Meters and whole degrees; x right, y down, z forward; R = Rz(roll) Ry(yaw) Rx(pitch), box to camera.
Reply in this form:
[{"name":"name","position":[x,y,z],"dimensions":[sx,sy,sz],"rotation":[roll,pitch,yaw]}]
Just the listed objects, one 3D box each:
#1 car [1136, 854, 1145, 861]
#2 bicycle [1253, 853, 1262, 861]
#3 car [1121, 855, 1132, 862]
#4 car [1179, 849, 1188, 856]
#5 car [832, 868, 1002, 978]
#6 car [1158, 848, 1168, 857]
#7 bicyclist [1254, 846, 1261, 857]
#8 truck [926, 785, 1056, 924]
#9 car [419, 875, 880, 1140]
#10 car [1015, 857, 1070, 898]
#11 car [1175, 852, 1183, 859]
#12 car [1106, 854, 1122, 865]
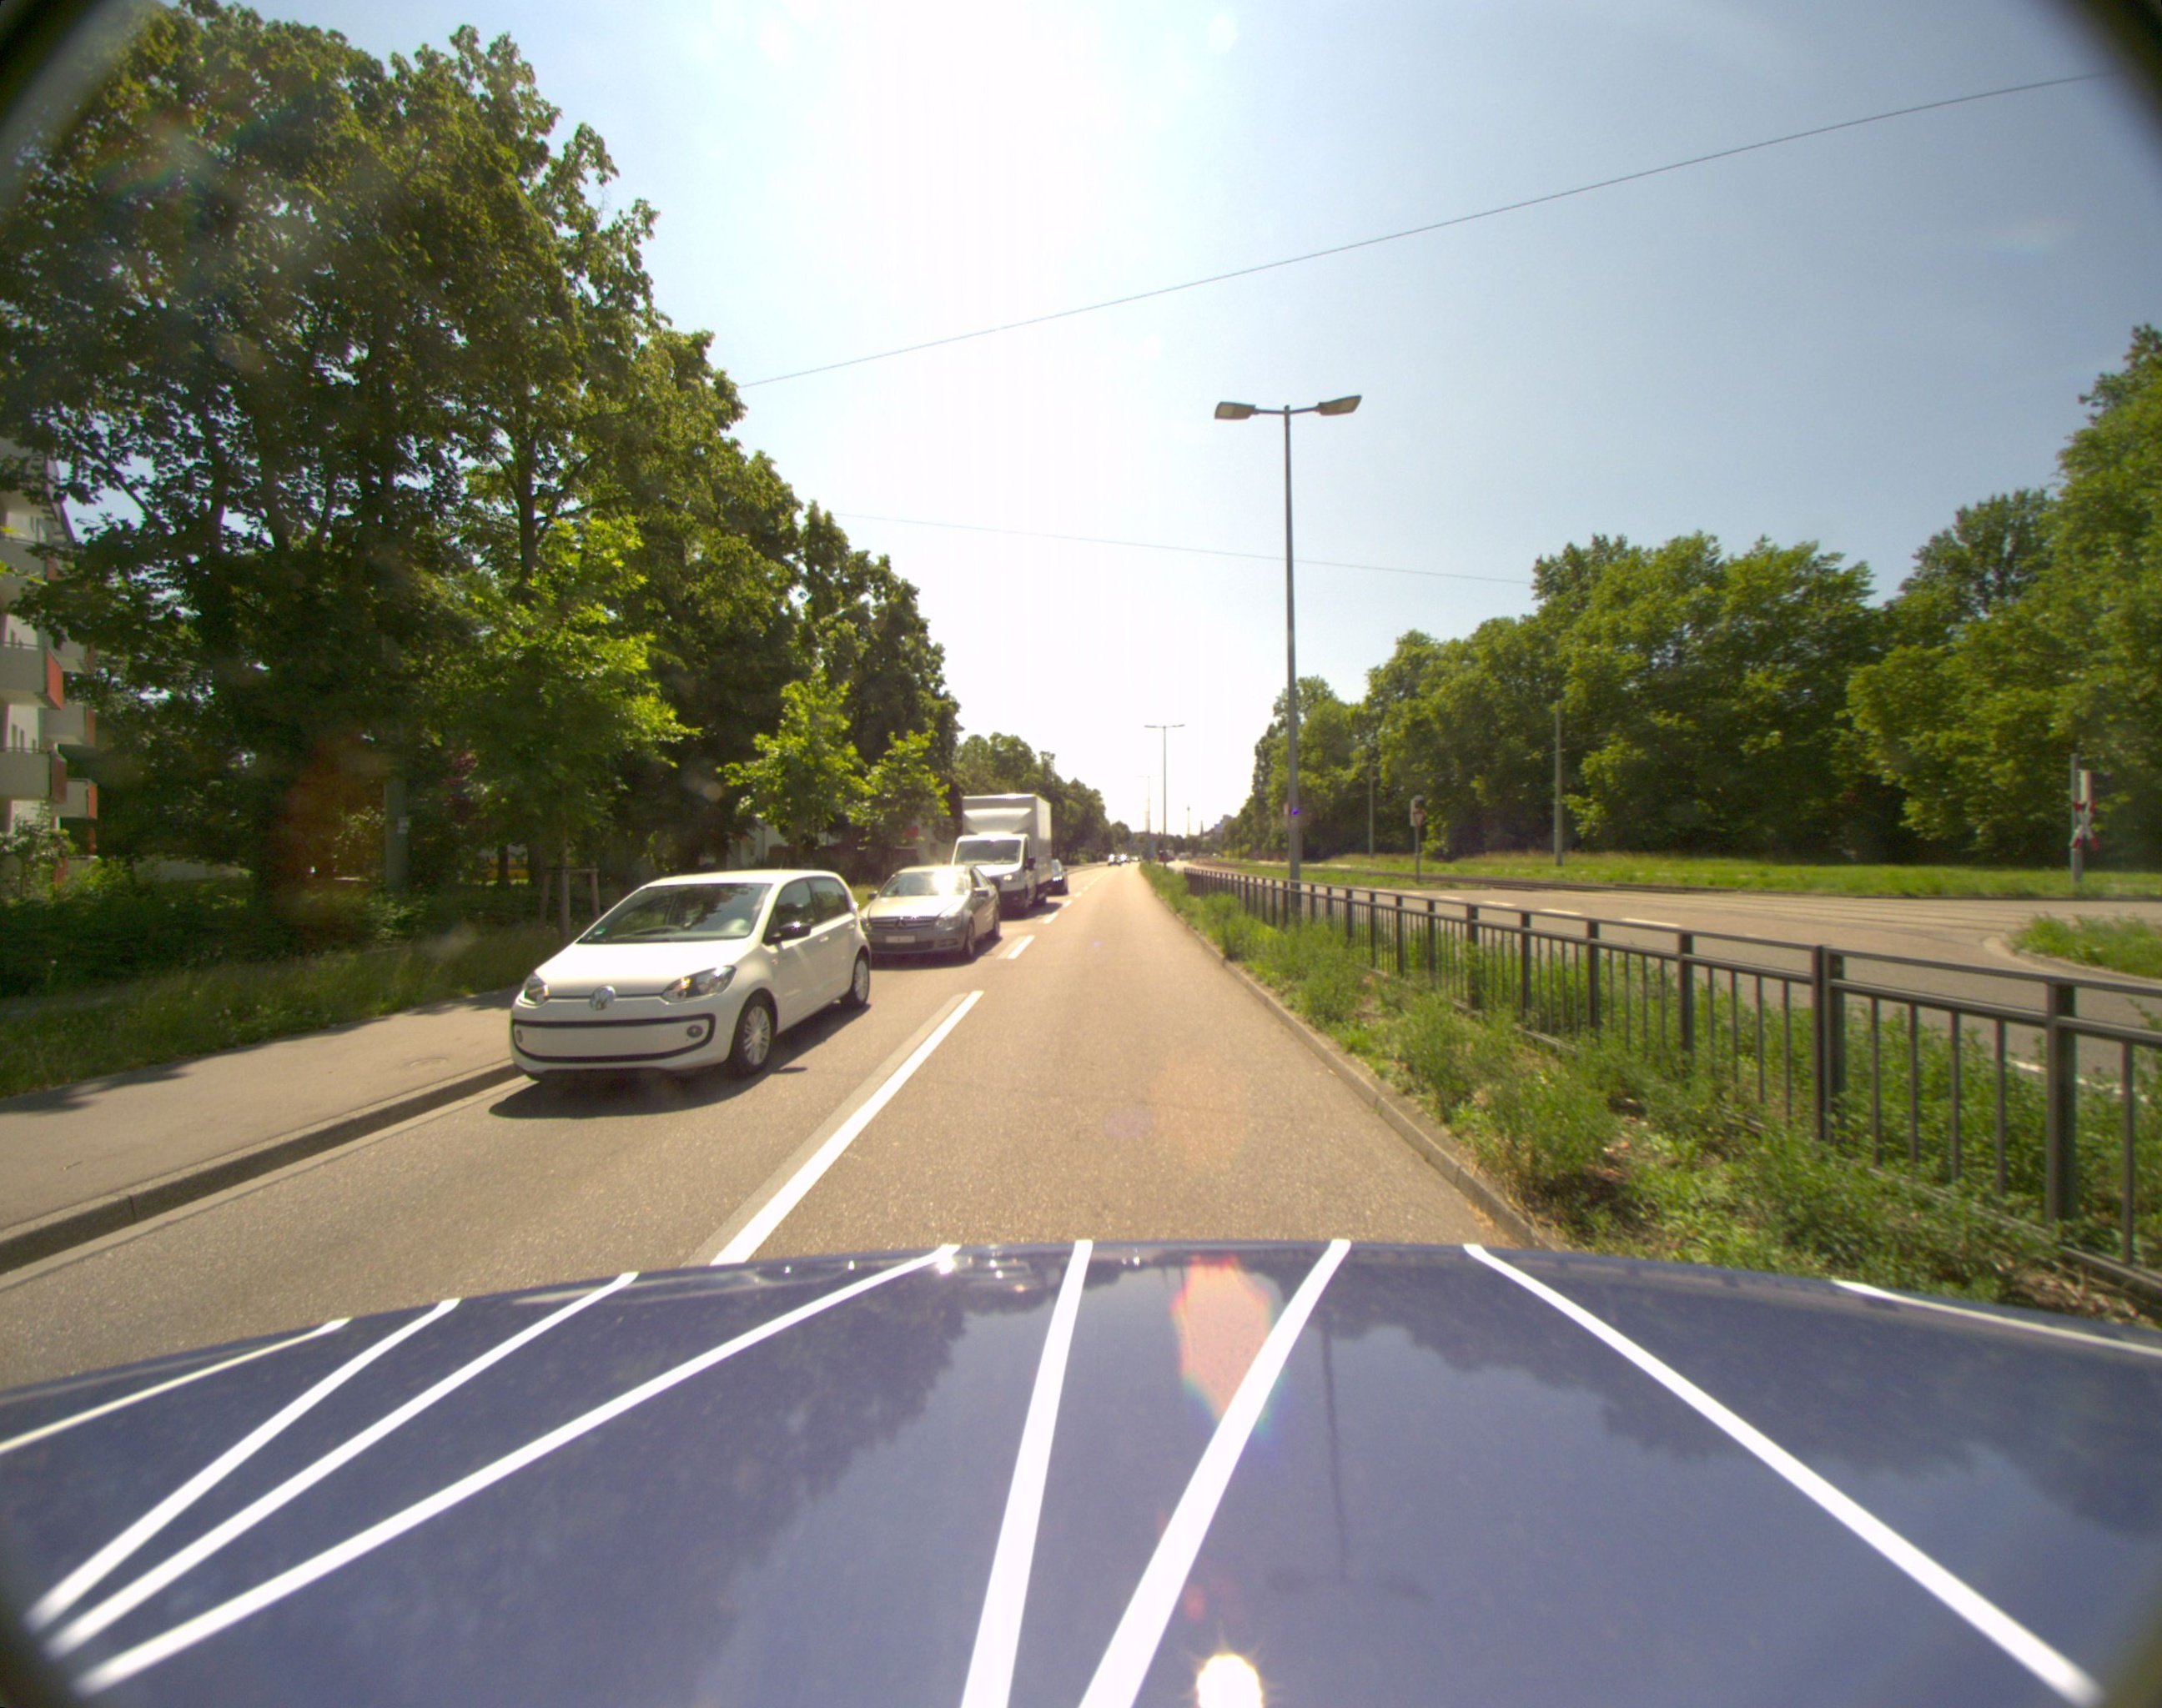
[{"name":"car","position":[14.354,0.812,182.281],"dimensions":[1.997,1.499,4.002],"rotation":[-1,0,7]},{"name":"bicycle","position":[28.574,0.451,123.113],"dimensions":[0.862,1.155,2.787],"rotation":[-1,0,1]},{"name":"car","position":[9.105,0.903,152.188],"dimensions":[1.997,1.499,4.002],"rotation":[-1,0,7]},{"name":"car","position":[27.123,-0.364,200.901],"dimensions":[1.998,1.847,4.001],"rotation":[-1,0,5]},{"name":"car","position":[-2.471,0.988,12.533],"dimensions":[1.840,1.400,4.087],"rotation":[-1,0,1]},{"name":"car","position":[16.617,-0.293,153.924],"dimensions":[1.997,1.847,4.002],"rotation":[-1,0,7]},{"name":"bicyclist","position":[28.583,-0.397,123.046],"dimensions":[0.862,1.796,1.118],"rotation":[-1,1,1]},{"name":"truck","position":[-2.295,-0.005,22.272],"dimensions":[2.433,3.326,7.923],"rotation":[-1,0,3]},{"name":"car","position":[-3.123,0.990,6.512],"dimensions":[1.730,1.470,3.771],"rotation":[-1,0,1]},{"name":"car","position":[-1.513,0.917,31.531],"dimensions":[1.998,1.499,4.000],"rotation":[-1,0,1]},{"name":"car","position":[26.743,0.321,207.210],"dimensions":[1.998,1.847,4.001],"rotation":[-1,0,5]},{"name":"car","position":[4.942,0.799,113.630],"dimensions":[1.997,1.499,4.002],"rotation":[-1,0,7]}]
